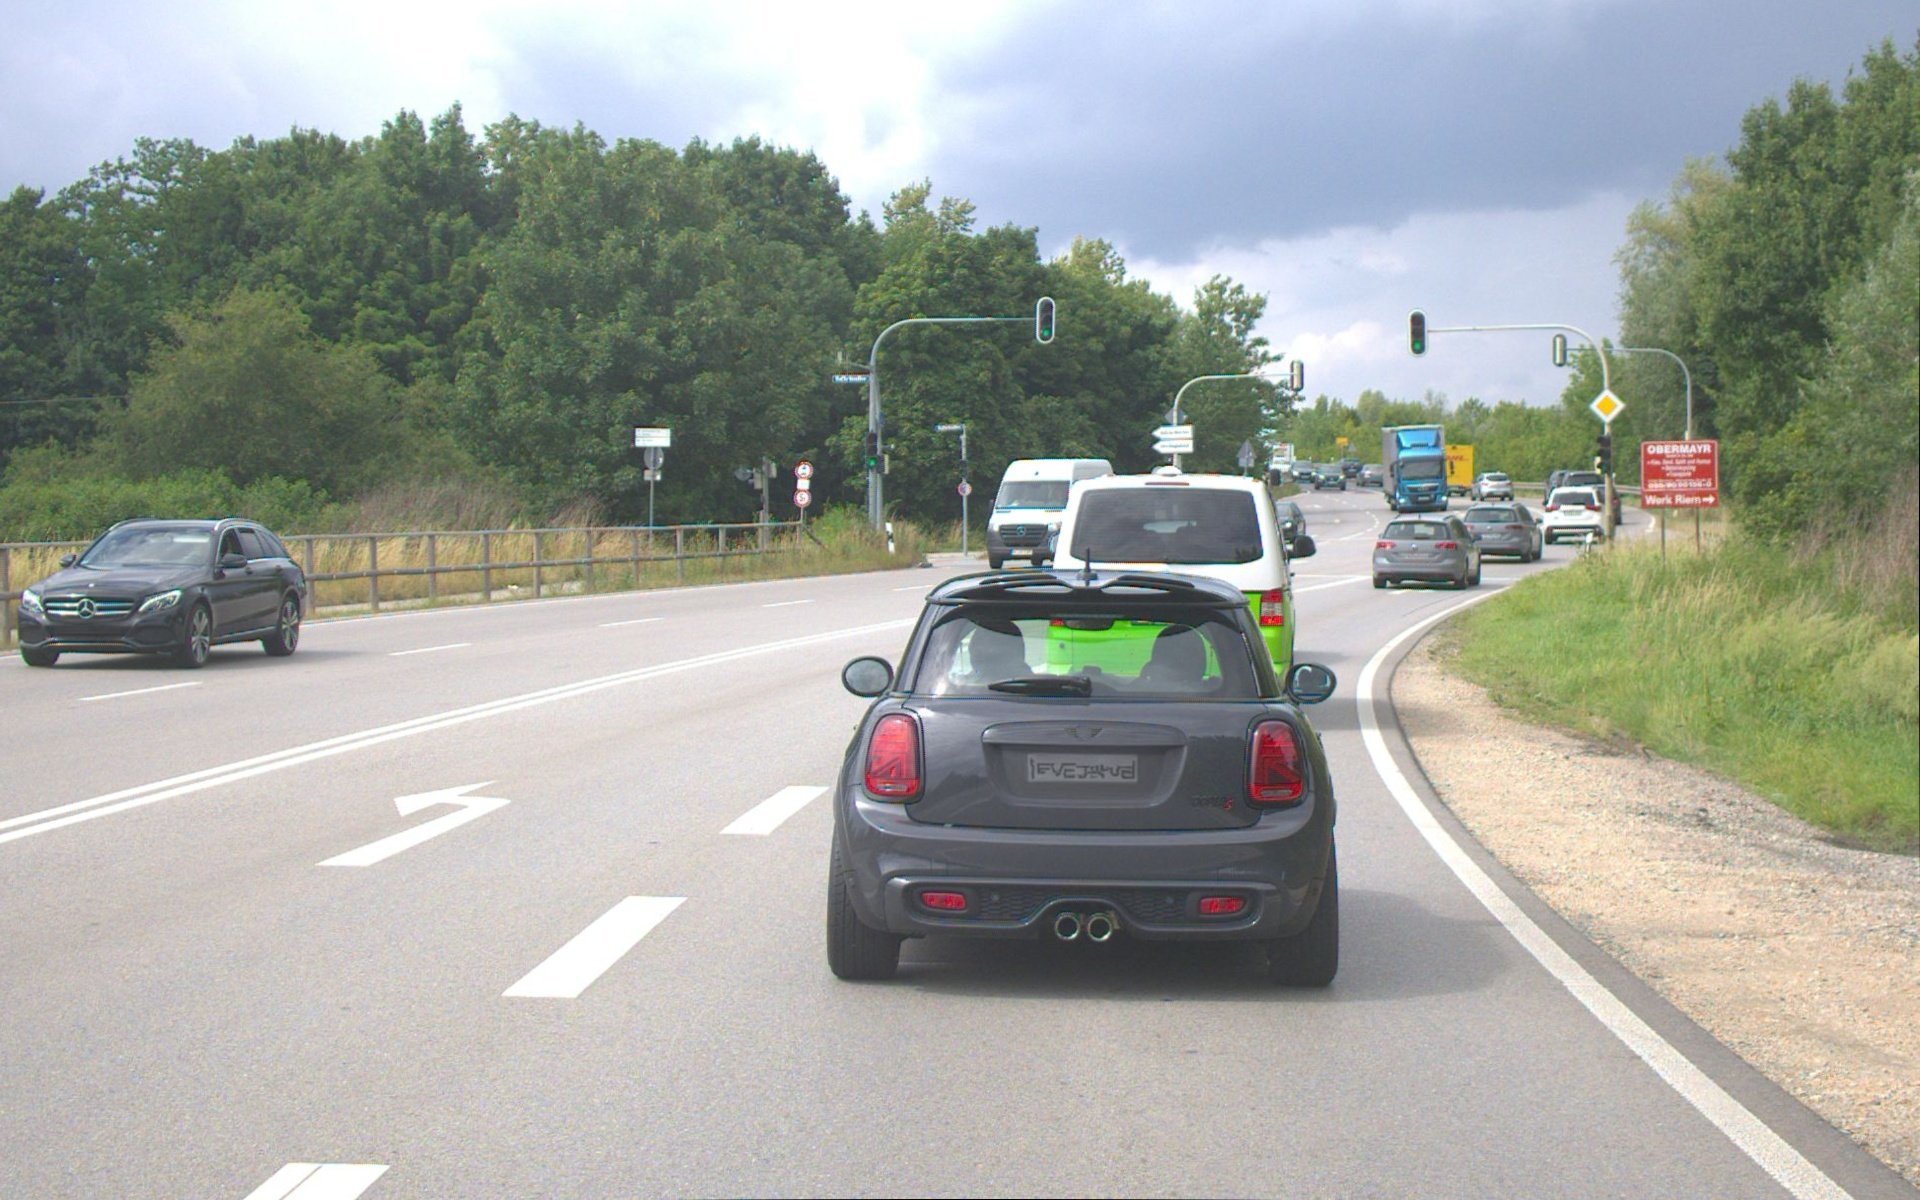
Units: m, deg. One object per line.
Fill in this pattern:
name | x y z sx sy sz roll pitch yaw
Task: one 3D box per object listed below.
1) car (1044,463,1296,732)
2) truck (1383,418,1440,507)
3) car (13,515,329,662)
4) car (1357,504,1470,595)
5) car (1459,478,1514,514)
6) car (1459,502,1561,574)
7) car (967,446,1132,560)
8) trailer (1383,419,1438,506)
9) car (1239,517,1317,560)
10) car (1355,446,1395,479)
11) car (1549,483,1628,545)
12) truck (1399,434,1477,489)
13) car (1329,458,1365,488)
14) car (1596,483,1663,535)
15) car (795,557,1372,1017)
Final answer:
car | 1.735 -0.070 27.536 1.845 1.980 3.840 1 2 5
truck | 21.036 -6.397 160.406 2.540 4.082 3.999 0 2 7
car | -8.159 -0.161 35.956 1.809 1.436 4.352 0 1 8
car | 8.963 -0.975 67.691 1.994 1.678 3.998 2 0 10
car | 27.023 -5.346 176.625 1.993 1.781 4.486 0 2 -2
car | 13.710 -1.526 85.597 1.995 1.678 3.974 2 0 16
car | 2.264 -2.351 83.930 2.435 2.665 6.883 1 1 15
trailer | 21.409 -6.510 163.534 2.528 4.086 6.734 0 2 7
car | 10.884 -2.113 117.536 1.947 1.436 3.997 1 2 16
car | 27.372 -9.063 226.914 2.180 2.007 4.000 1 0 0
car | 18.653 -2.541 101.947 1.995 1.678 3.997 2 0 15
truck | 26.846 -7.746 193.551 2.716 2.888 8.772 0 1 -3
car | 27.749 -9.096 246.614 1.993 2.007 4.000 1 0 -1
car | 23.555 -3.181 120.831 1.995 1.678 3.997 2 0 15
car | 0.446 0.579 13.028 1.845 1.423 3.841 1 1 2
